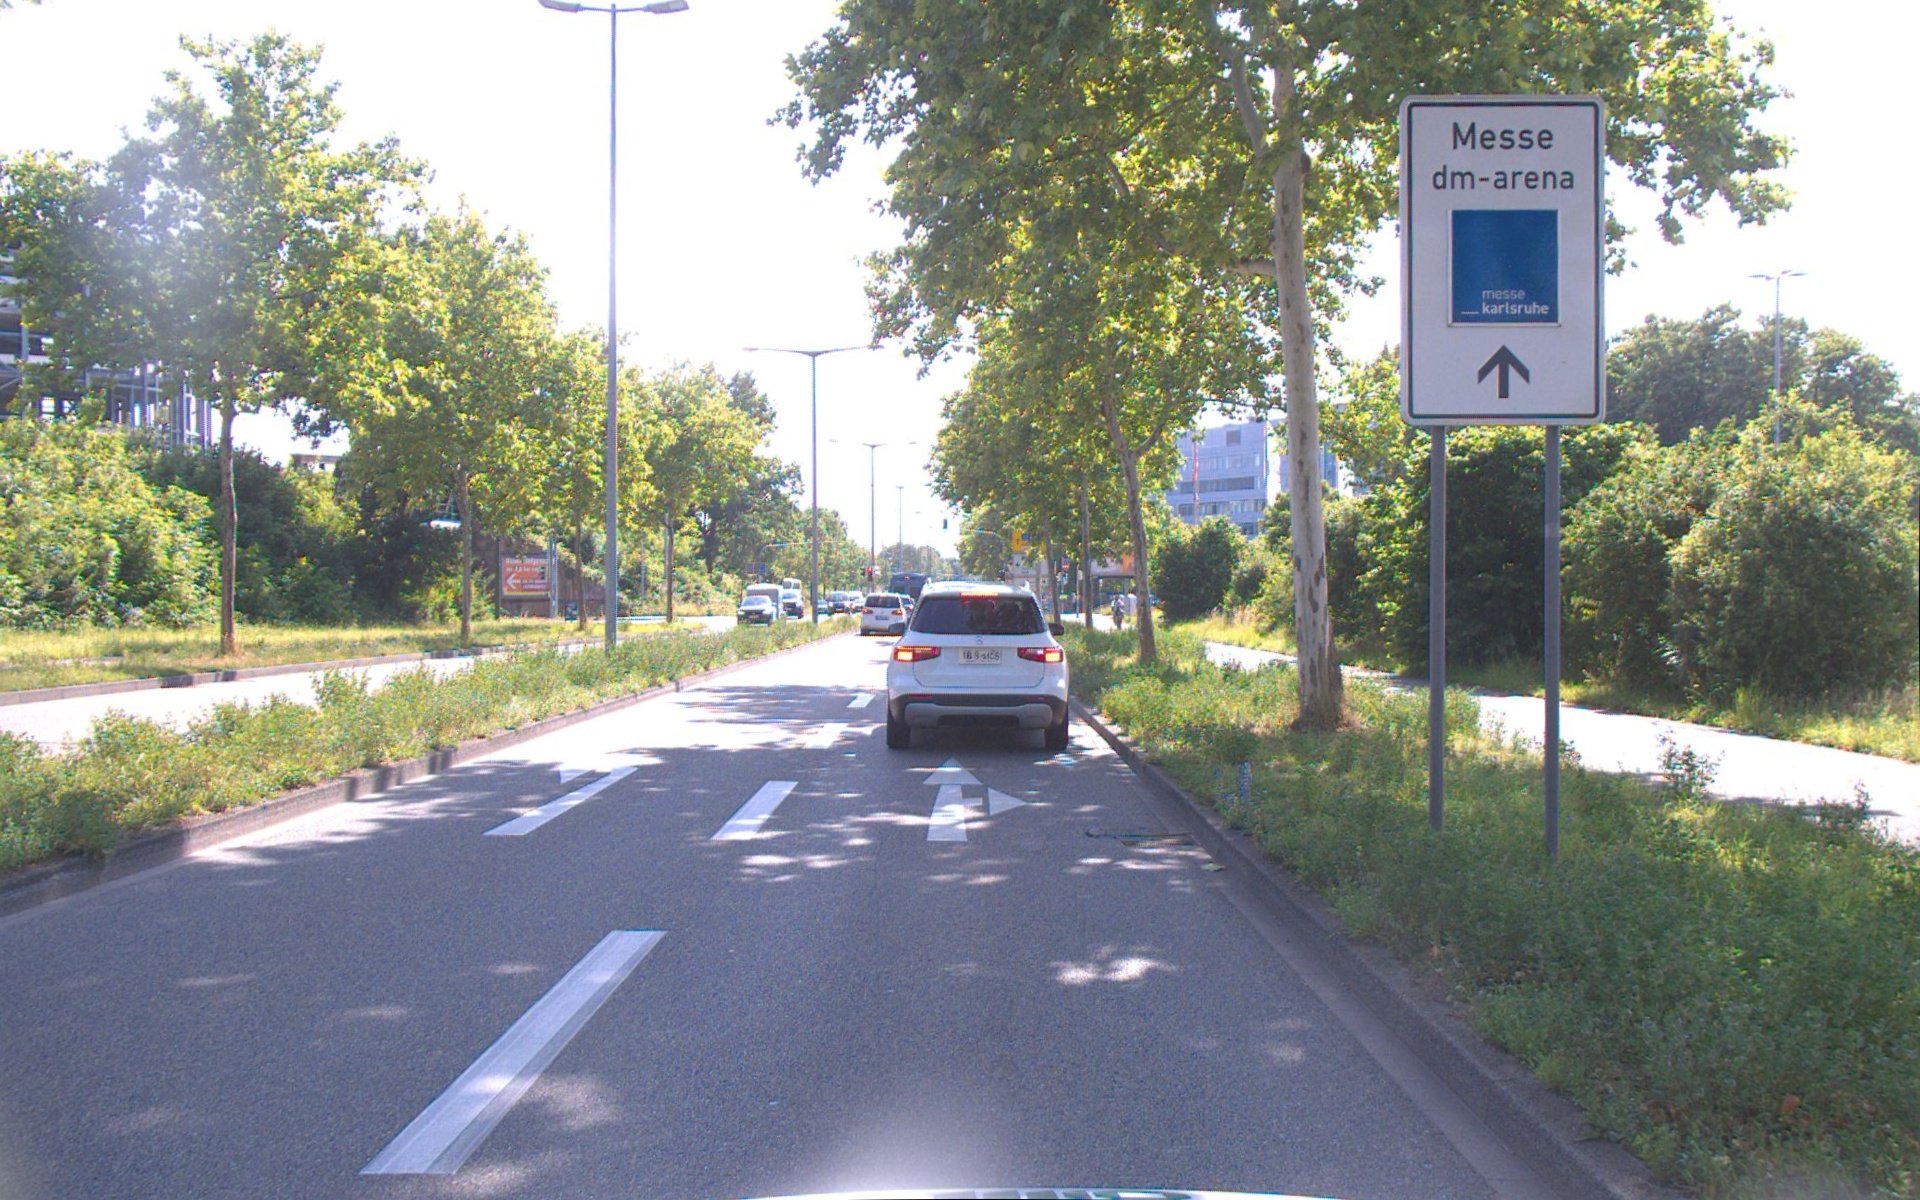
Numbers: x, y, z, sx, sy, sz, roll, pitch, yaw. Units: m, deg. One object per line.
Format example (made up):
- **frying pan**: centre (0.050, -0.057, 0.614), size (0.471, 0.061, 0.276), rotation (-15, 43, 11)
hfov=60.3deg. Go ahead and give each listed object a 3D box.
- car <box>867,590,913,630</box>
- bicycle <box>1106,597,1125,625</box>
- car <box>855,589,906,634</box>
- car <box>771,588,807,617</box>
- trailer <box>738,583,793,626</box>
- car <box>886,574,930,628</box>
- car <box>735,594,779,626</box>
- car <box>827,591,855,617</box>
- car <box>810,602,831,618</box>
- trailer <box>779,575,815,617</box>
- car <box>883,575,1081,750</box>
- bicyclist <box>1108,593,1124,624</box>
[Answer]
- **car**: centre (-2.996, 0.426, 71.274), size (1.735, 1.676, 4.085), rotation (1, 0, 1)
- **bicycle**: centre (7.548, 0.548, 80.327), size (0.708, 1.321, 2.096), rotation (1, 0, 1)
- **car**: centre (-3.105, 0.446, 65.211), size (1.735, 1.676, 4.352), rotation (1, 0, 1)
- **car**: centre (-11.362, 0.164, 110.139), size (1.728, 1.821, 5.376), rotation (2, 0, 1)
- **trailer**: centre (-10.648, 0.261, 91.015), size (2.261, 2.305, 5.538), rotation (0, 0, 1)
- **car**: centre (-2.707, 0.049, 87.423), size (2.038, 2.703, 4.874), rotation (1, 0, 1)
- **car**: centre (-10.539, 0.522, 86.065), size (1.680, 1.650, 4.361), rotation (0, 0, 1)
- **car**: centre (-8.949, 0.299, 125.028), size (1.695, 1.841, 4.232), rotation (2, 0, 1)
- **car**: centre (-12.833, 0.921, 152.262), size (1.666, 1.389, 3.645), rotation (1, 0, -1)
- **trailer**: centre (-11.284, -0.283, 114.809), size (1.841, 2.792, 4.829), rotation (2, 0, 1)
- **car**: centre (0.118, 0.588, 17.494), size (1.817, 1.635, 3.997), rotation (0, 0, -3)
- **bicyclist**: centre (7.568, 0.414, 80.323), size (0.689, 1.503, 1.010), rotation (1, 0, 1)
